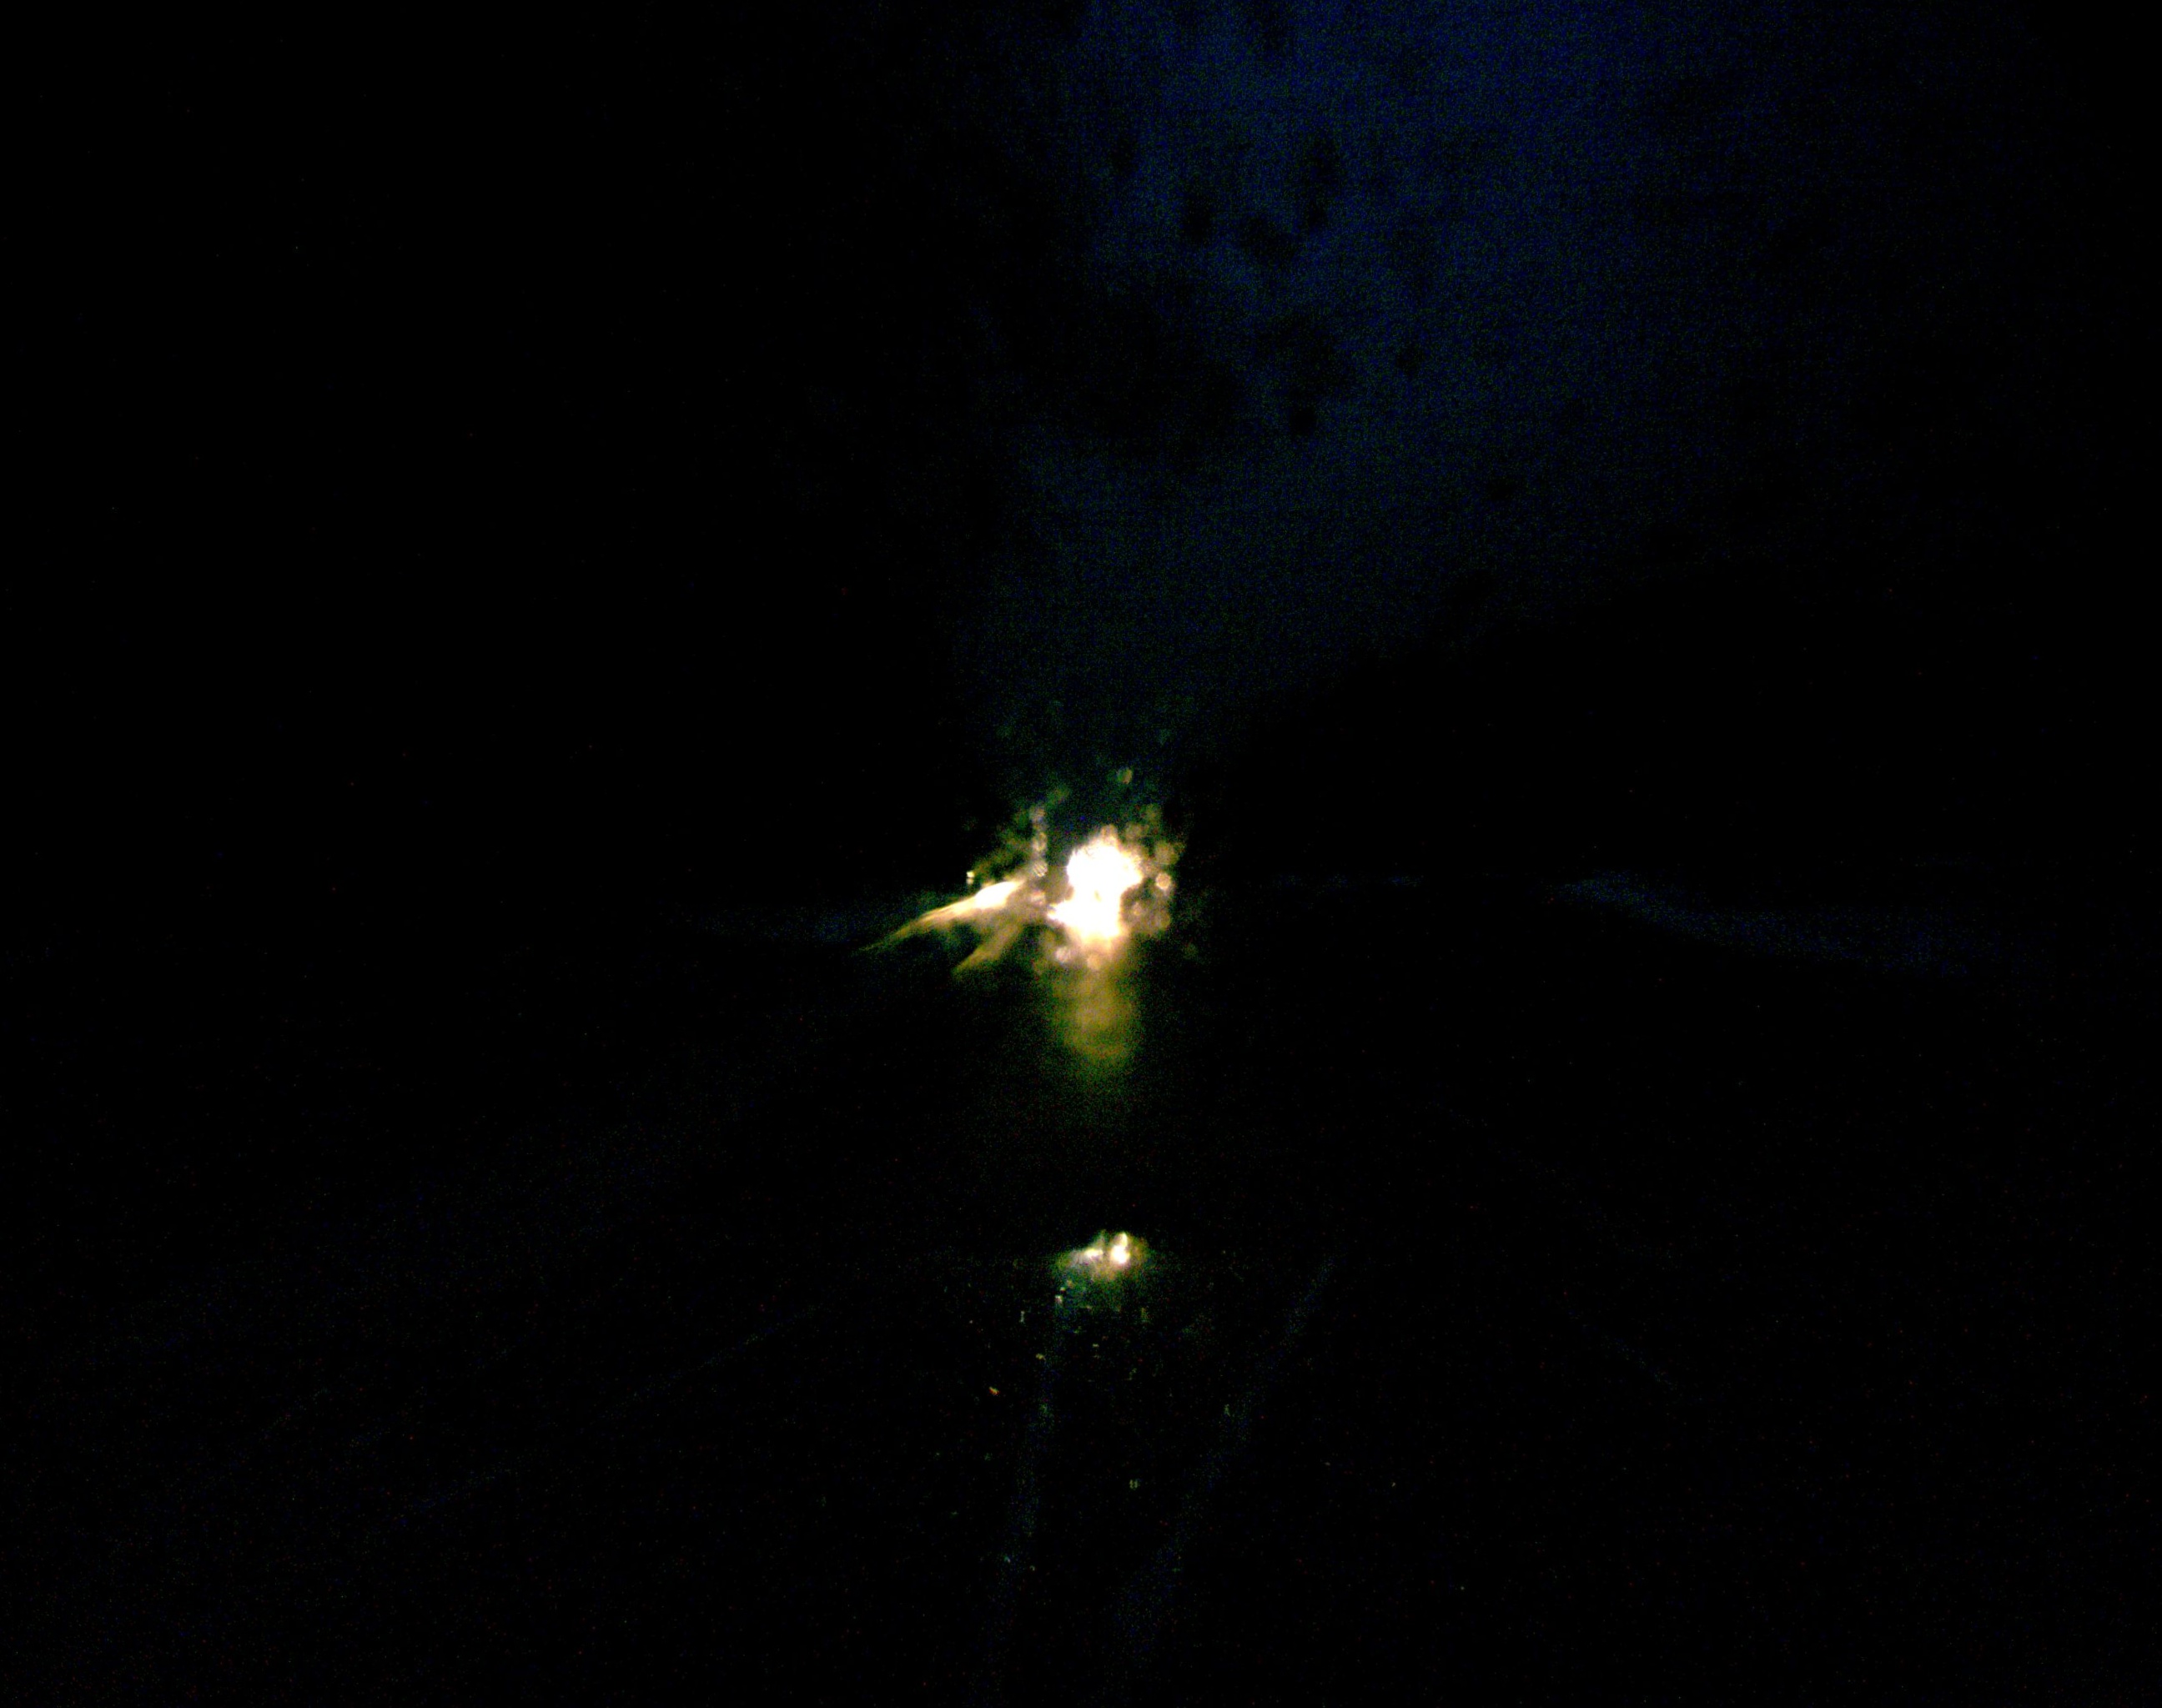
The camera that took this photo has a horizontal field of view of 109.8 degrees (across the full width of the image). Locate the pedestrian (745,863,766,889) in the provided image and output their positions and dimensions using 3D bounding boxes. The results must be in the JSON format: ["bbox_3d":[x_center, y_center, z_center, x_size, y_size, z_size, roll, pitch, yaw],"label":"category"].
[{"bbox_3d":[-23.292,1.565,54.391,0.923,1.816,0.965,-3,-2,25],"label":"pedestrian"}]

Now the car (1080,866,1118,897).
[{"bbox_3d":[0.858,1.357,37.635,1.725,1.425,3.678,-2,-2,0],"label":"car"}]
